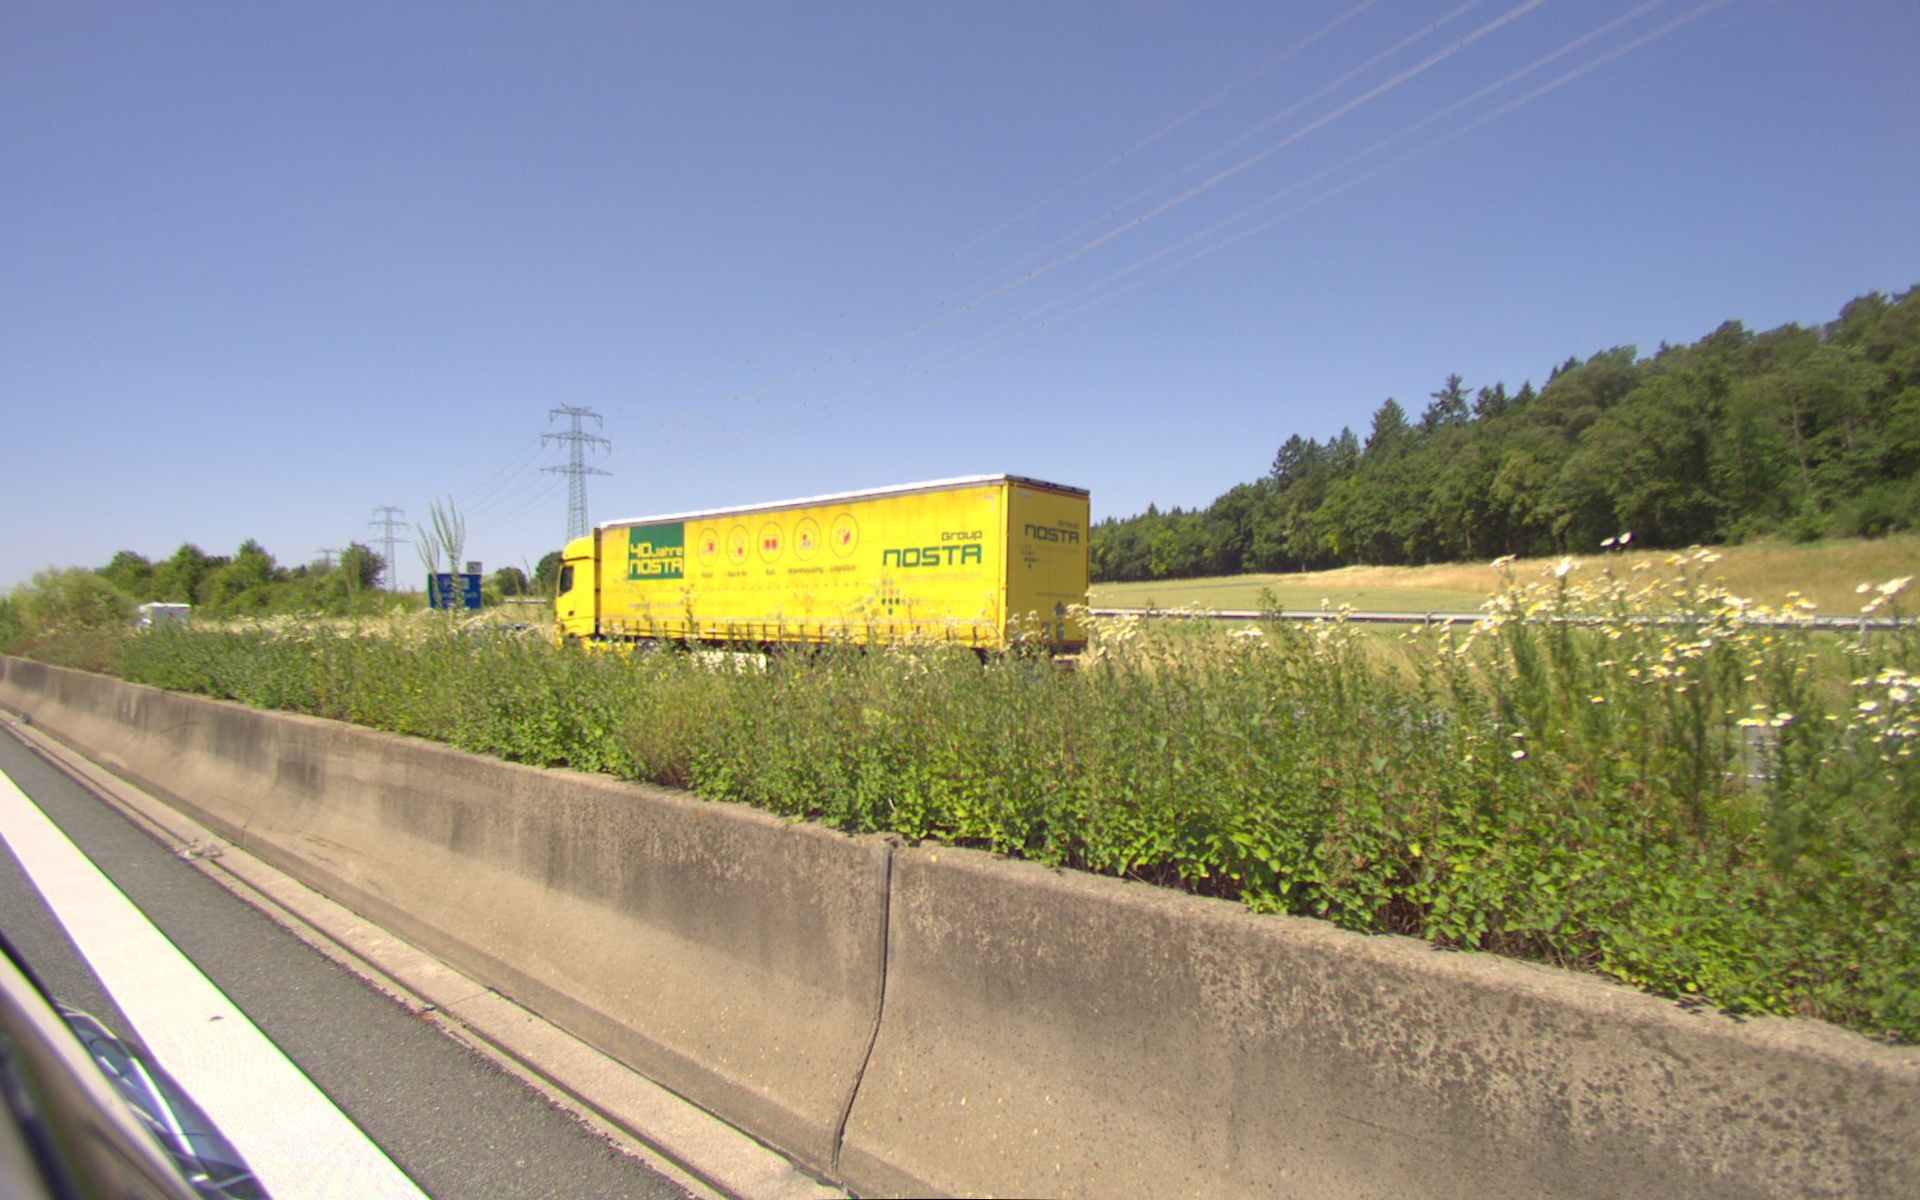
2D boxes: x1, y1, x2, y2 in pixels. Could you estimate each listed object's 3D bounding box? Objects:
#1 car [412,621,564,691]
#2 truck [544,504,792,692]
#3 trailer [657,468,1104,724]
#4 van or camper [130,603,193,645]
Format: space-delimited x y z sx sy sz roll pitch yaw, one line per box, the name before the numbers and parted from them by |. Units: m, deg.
car | -11.412 1.295 24.336 4.098 1.476 1.850 -2 -1 42
truck | -7.808 -0.054 26.426 7.324 4.268 2.748 0 1 42
trailer | -2.238 -0.072 21.386 10.683 4.238 2.792 0 1 42
van or camper | -57.961 1.659 73.401 7.067 2.859 2.524 0 1 43
